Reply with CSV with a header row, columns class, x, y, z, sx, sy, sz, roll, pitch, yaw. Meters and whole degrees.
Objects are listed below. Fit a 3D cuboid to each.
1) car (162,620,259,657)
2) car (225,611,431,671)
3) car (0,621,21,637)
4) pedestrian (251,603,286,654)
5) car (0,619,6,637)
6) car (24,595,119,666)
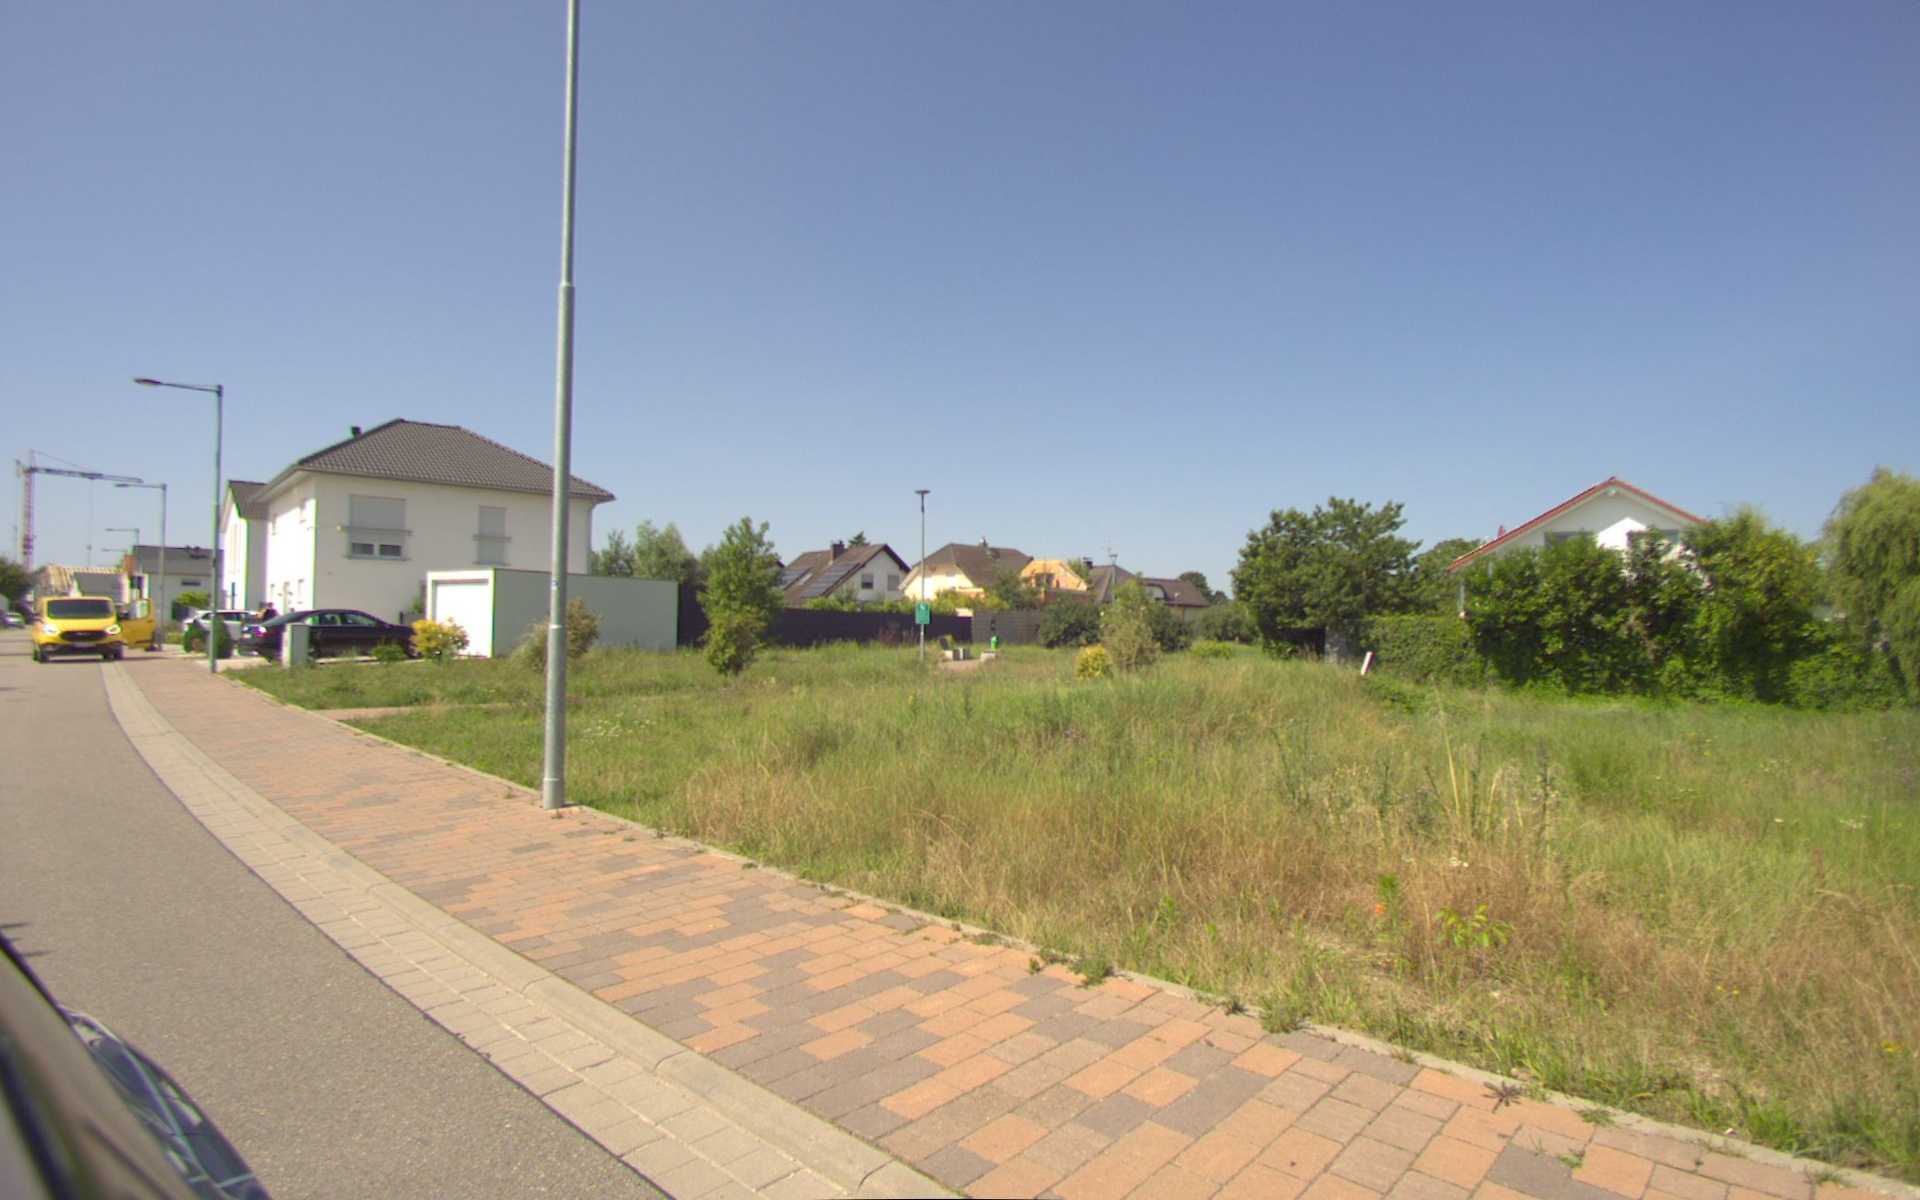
class,x,y,z,sx,sy,sz,roll,pitch,yaw
car,-39.289,2.005,53.101,3.937,1.866,2.003,2,-2,-41
car,-16.684,1.035,26.925,1.745,1.463,4.354,-1,-1,35
car,-90.442,2.751,96.260,1.471,1.408,3.277,2,-2,-41
pedestrian,-23.280,0.954,34.088,0.917,1.698,0.539,-1,0,-32
car,-78.554,2.245,81.892,1.742,1.503,4.005,2,-2,-41
car,-27.492,0.904,31.247,4.843,2.029,1.862,-1,-1,45
